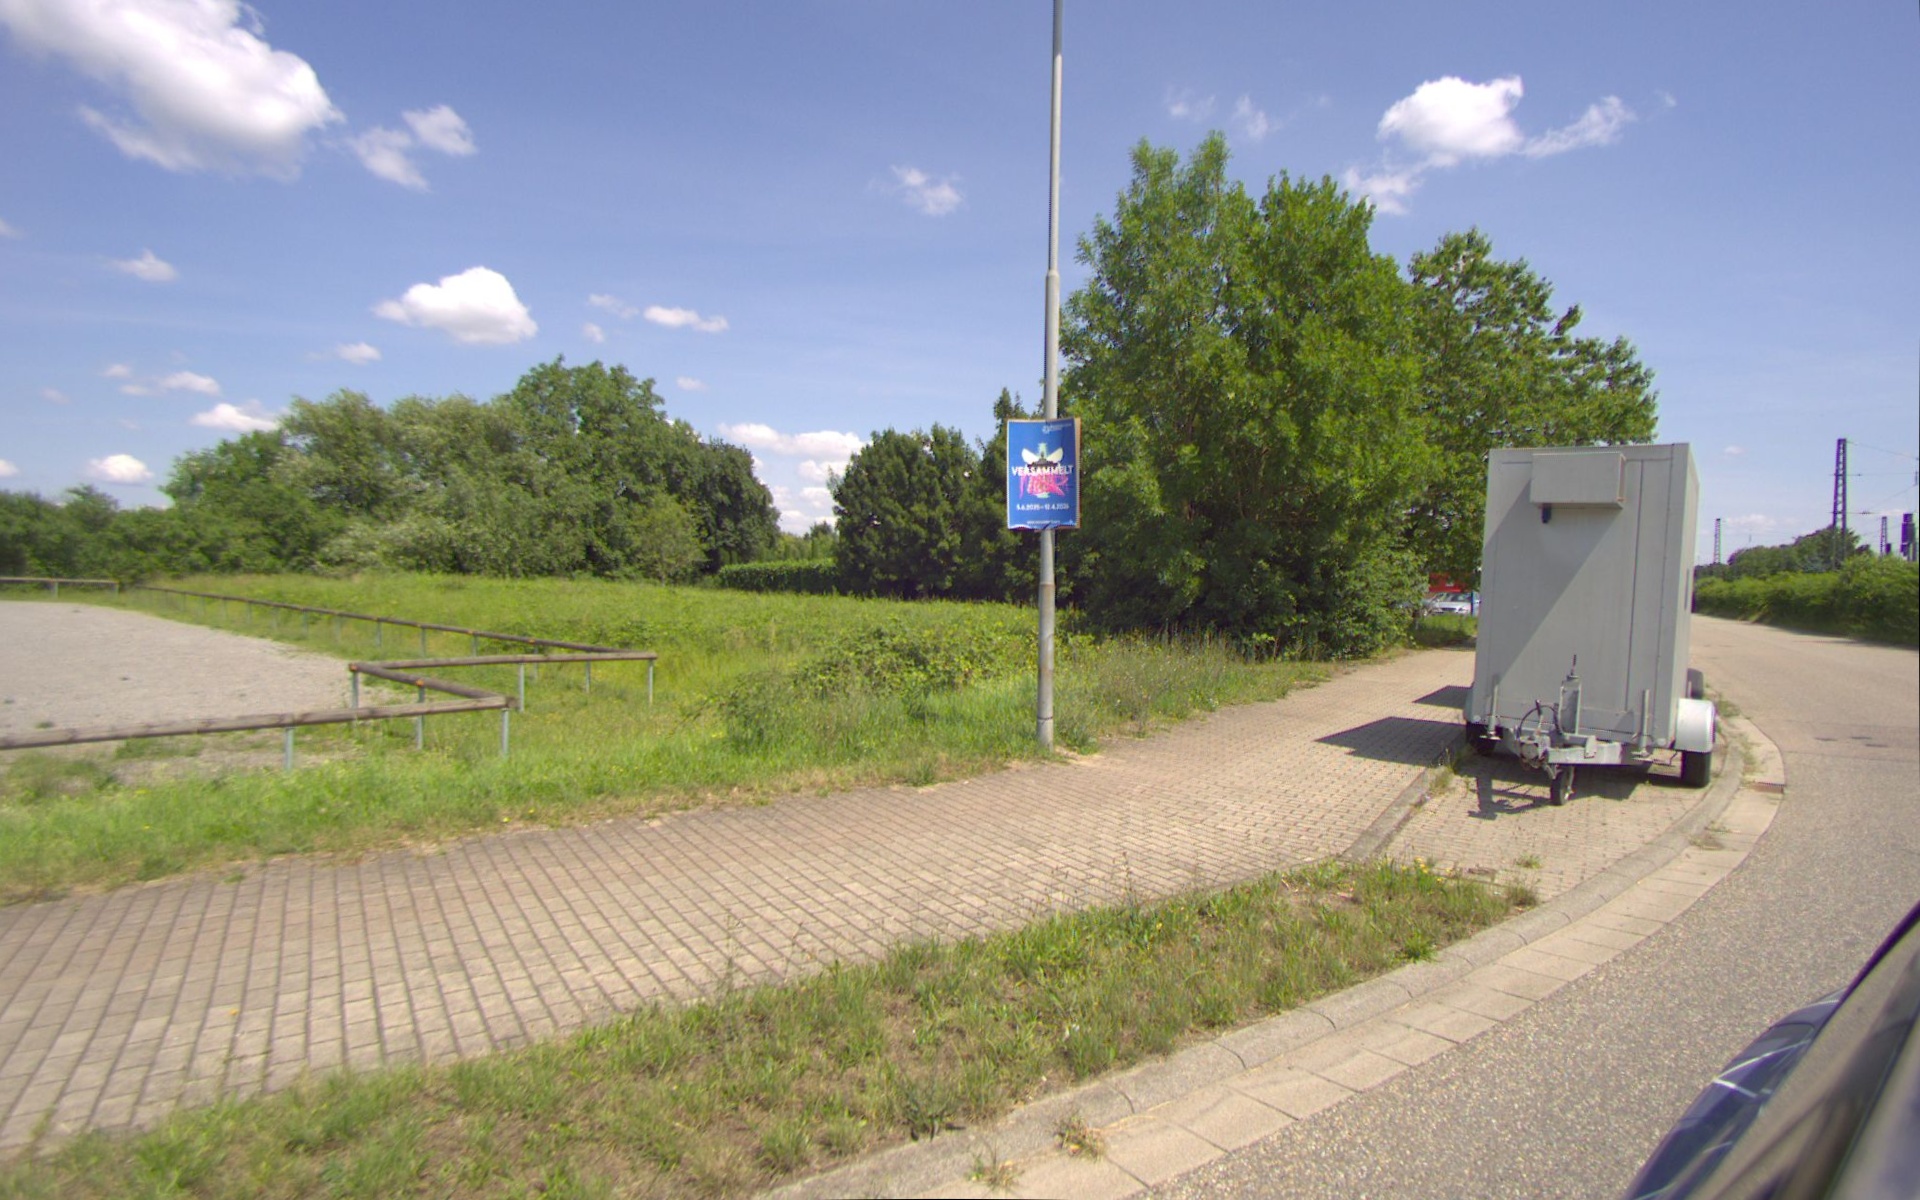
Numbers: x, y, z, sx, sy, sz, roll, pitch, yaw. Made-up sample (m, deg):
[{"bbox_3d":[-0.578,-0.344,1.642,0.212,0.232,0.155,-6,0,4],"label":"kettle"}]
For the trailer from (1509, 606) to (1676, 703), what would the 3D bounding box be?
[{"bbox_3d":[10.554,0.788,16.739,2.000,1.136,4.431,5,4,36],"label":"trailer"}]

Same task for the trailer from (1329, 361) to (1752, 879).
[{"bbox_3d":[4.773,0.050,7.836,1.930,2.676,5.110,5,3,39],"label":"trailer"}]

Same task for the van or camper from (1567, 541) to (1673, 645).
[{"bbox_3d":[20.896,-0.259,32.135,2.430,2.861,7.533,3,2,33],"label":"van or camper"}]

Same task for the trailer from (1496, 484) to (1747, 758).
[{"bbox_3d":[7.691,0.123,11.868,1.912,2.539,4.684,4,3,33],"label":"trailer"}]
